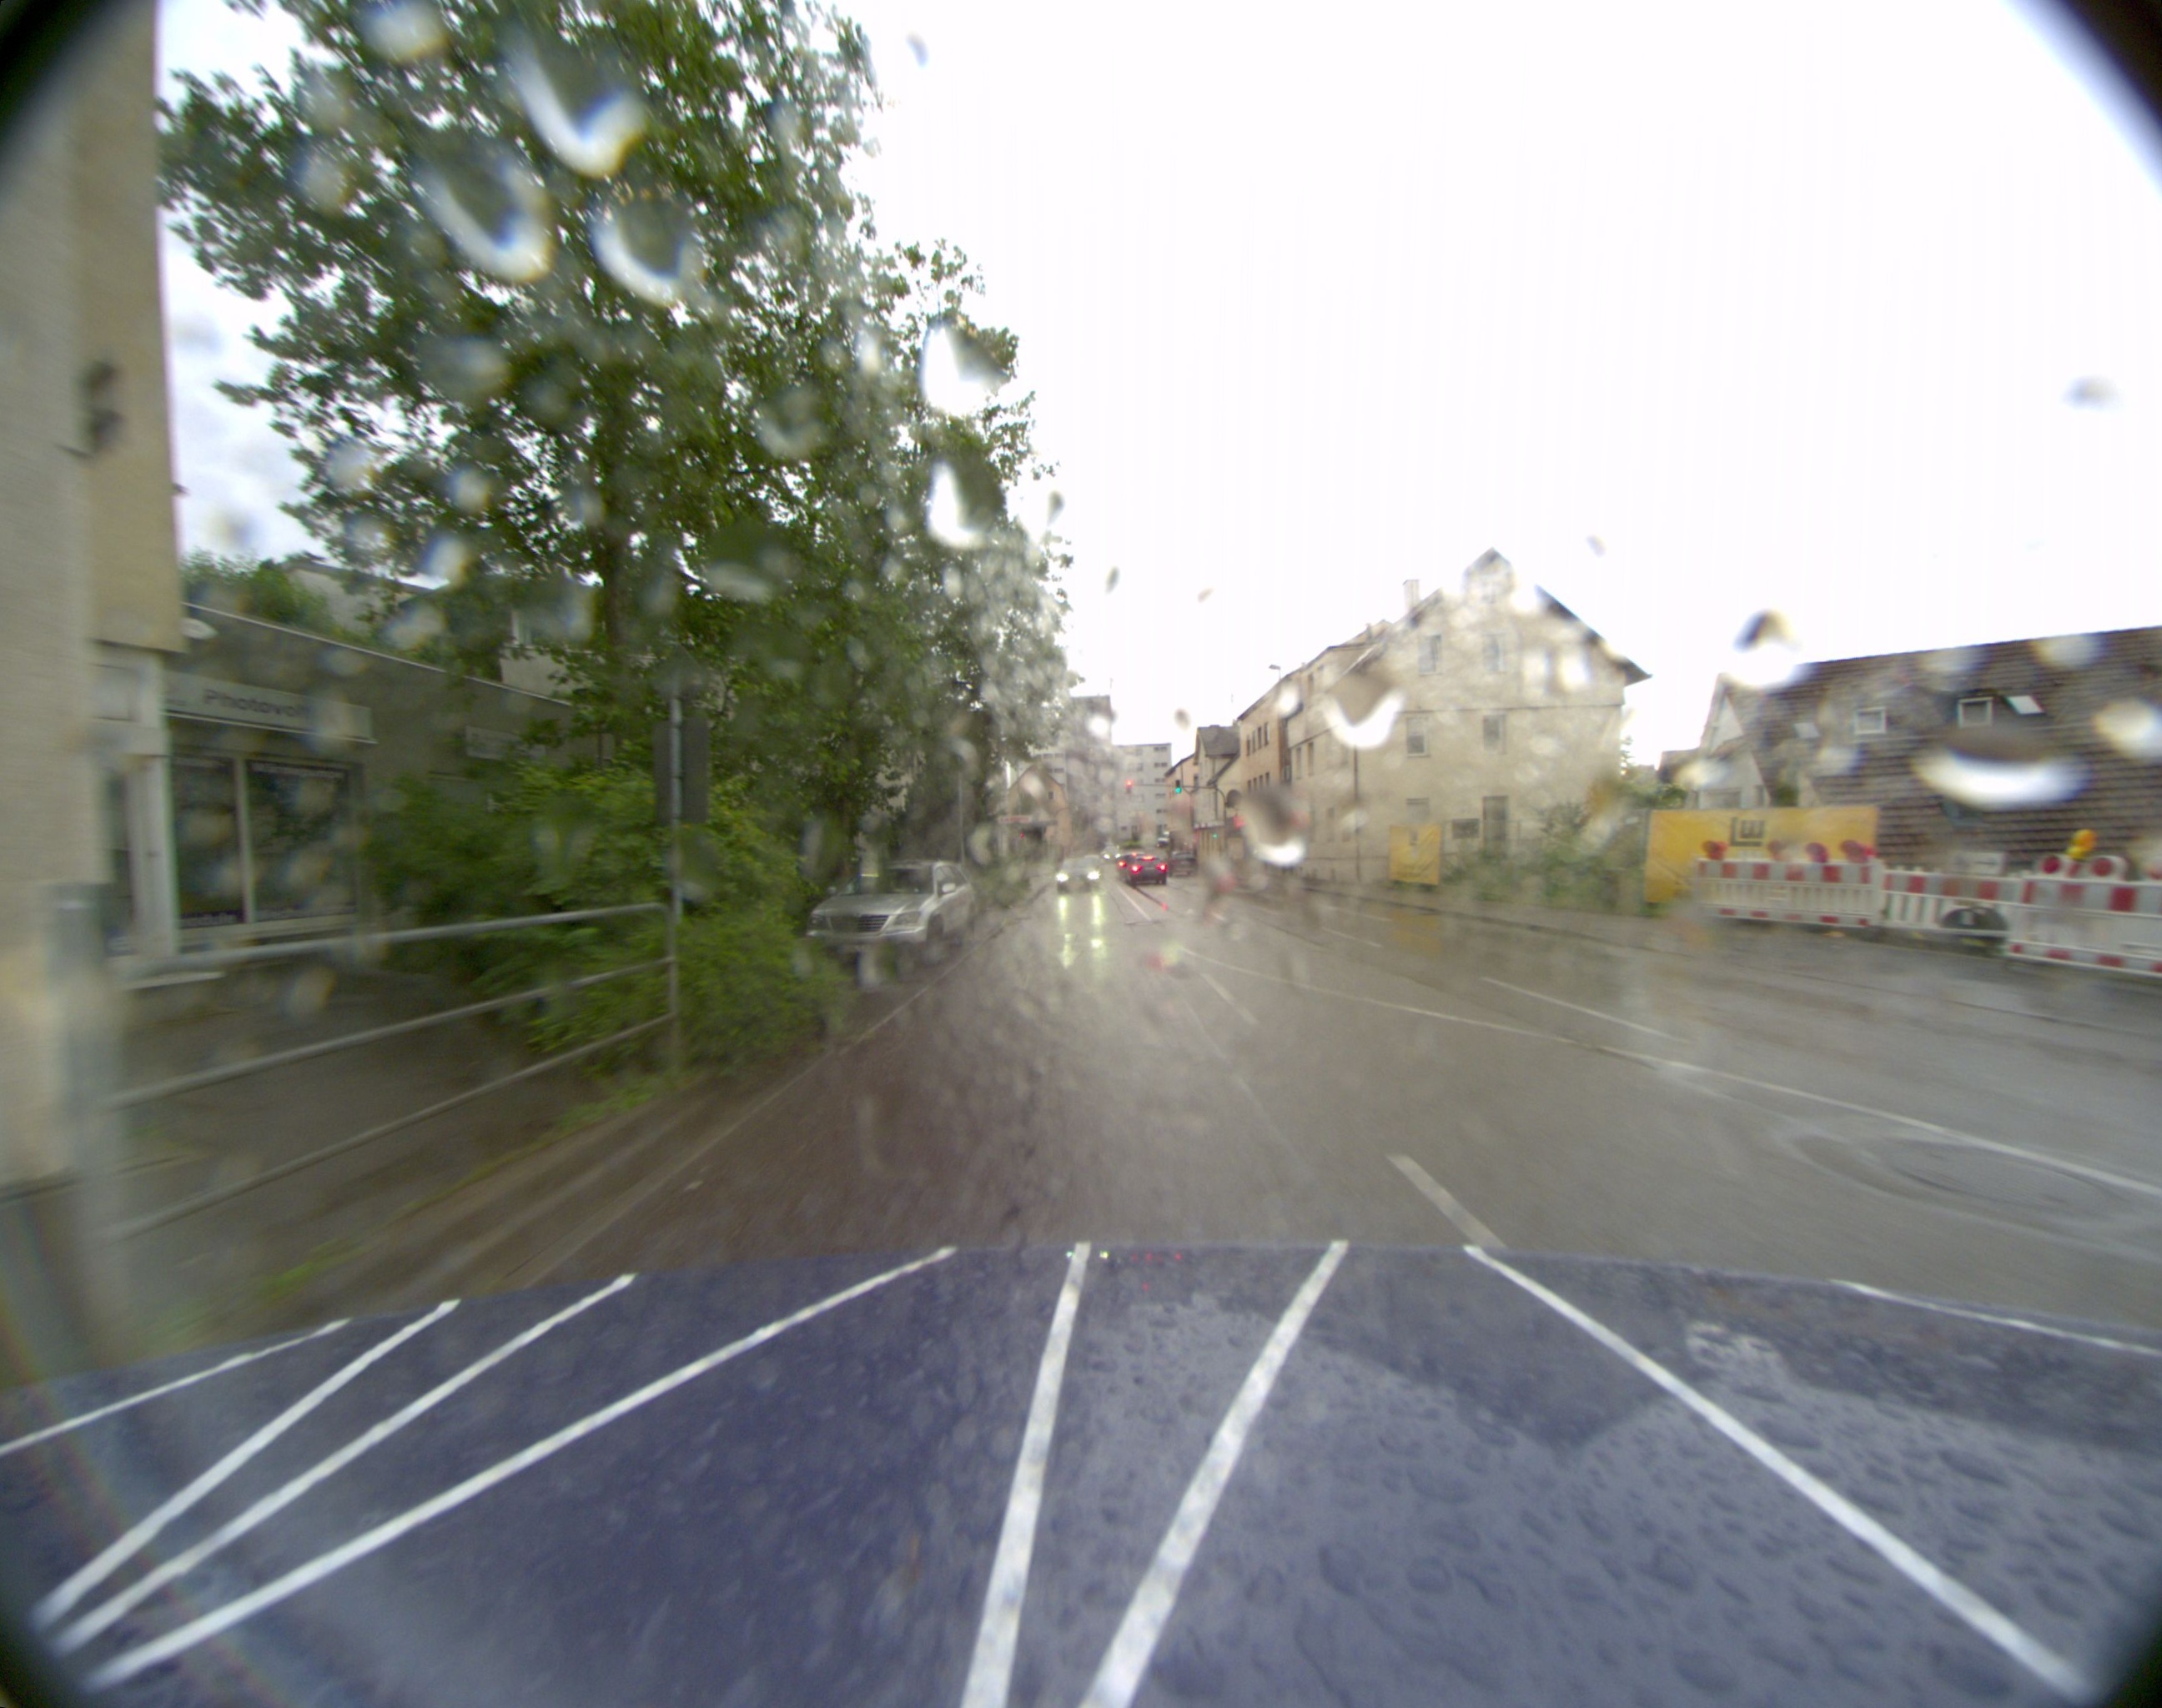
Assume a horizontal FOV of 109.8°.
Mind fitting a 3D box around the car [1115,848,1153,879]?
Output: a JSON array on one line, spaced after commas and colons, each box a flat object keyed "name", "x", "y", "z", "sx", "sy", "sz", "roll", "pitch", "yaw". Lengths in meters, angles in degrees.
[{"name": "car", "x": 3.043, "y": 0.535, "z": 44.371, "sx": 1.820, "sy": 1.635, "sz": 4.275, "roll": -3, "pitch": 0, "yaw": -1}]

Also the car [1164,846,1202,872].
[{"name": "car", "x": 6.400, "y": 0.282, "z": 48.130, "sx": 1.820, "sy": 1.562, "sz": 4.275, "roll": -1, "pitch": 0, "yaw": 1}]

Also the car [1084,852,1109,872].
[{"name": "car", "x": 1.259, "y": 0.625, "z": 60.556, "sx": 1.686, "sy": 1.413, "sz": 4.001, "roll": -3, "pitch": 0, "yaw": 5}]

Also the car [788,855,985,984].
[{"name": "car", "x": -3.078, "y": 0.945, "z": 13.198, "sx": 1.935, "sy": 1.770, "sz": 4.734, "roll": -1, "pitch": 0, "yaw": 3}]

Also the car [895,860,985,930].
[{"name": "car", "x": -3.573, "y": 0.986, "z": 19.889, "sx": 1.714, "sy": 1.563, "sz": 3.913, "roll": -1, "pitch": 0, "yaw": -2}]

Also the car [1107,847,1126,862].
[{"name": "car", "x": 3.778, "y": 0.081, "z": 79.499, "sx": 1.686, "sy": 1.452, "sz": 4.001, "roll": -3, "pitch": 0, "yaw": 6}]

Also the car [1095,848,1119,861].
[{"name": "car", "x": 3.355, "y": 0.035, "z": 97.391, "sx": 1.684, "sy": 1.452, "sz": 4.006, "roll": -2, "pitch": 1, "yaw": 24}]

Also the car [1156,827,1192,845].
[{"name": "car", "x": 14.796, "y": -2.866, "z": 120.829, "sx": 2.669, "sy": 2.506, "sz": 6.433, "roll": -4, "pitch": 1, "yaw": 38}]

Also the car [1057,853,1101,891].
[{"name": "car", "x": -0.105, "y": 0.775, "z": 35.367, "sx": 1.820, "sy": 1.562, "sz": 4.275, "roll": -3, "pitch": 0, "yaw": -1}]

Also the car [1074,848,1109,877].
[{"name": "car", "x": 0.610, "y": 0.492, "z": 46.970, "sx": 1.998, "sy": 1.652, "sz": 3.999, "roll": -3, "pitch": 0, "yaw": 0}]

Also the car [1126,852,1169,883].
[{"name": "car", "x": 3.264, "y": 0.637, "z": 37.901, "sx": 1.711, "sy": 1.375, "sz": 3.669, "roll": -3, "pitch": 0, "yaw": 0}]
